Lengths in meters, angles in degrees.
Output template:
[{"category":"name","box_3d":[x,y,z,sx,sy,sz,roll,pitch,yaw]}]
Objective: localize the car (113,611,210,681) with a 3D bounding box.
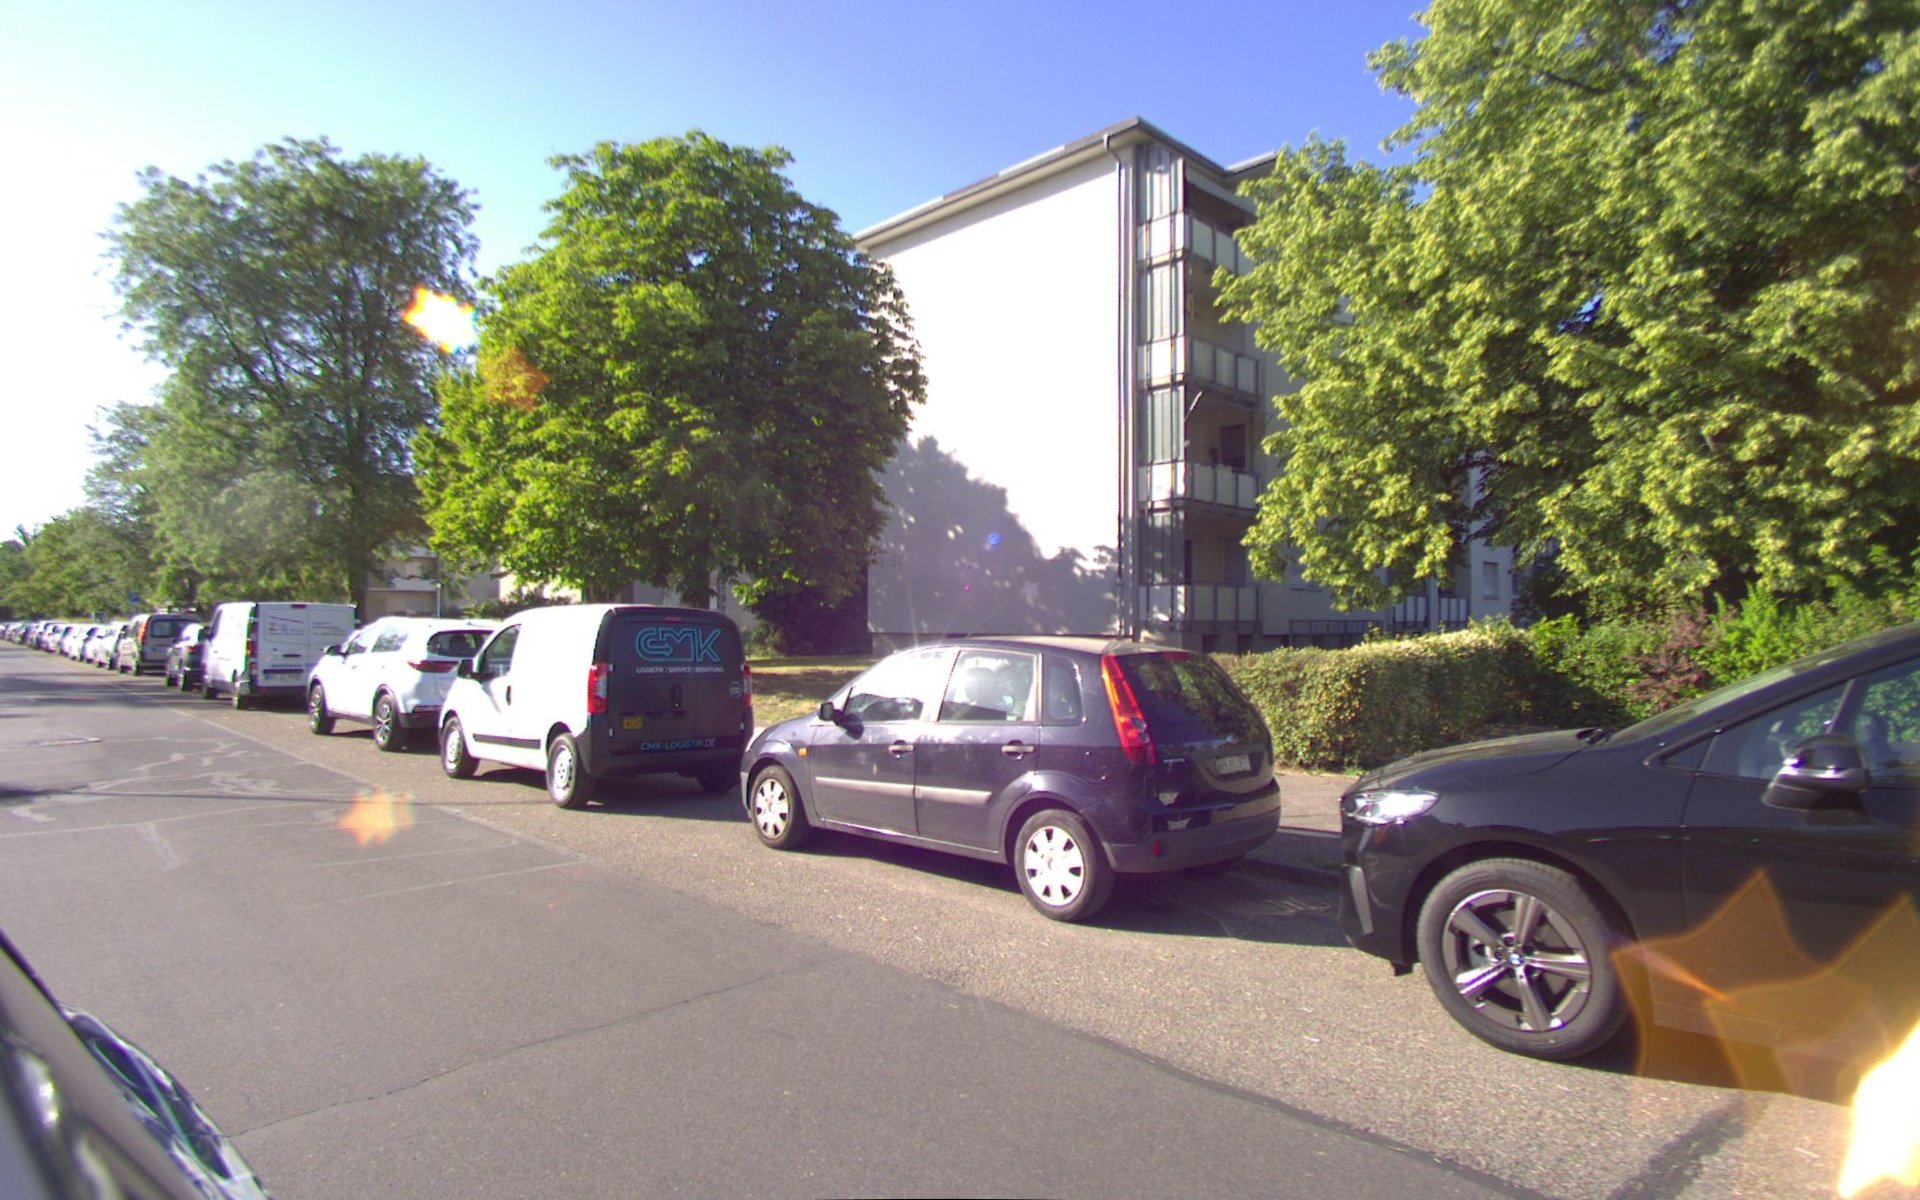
[{"category":"car","box_3d":[-24.105,1.382,30.525,3.813,1.968,1.708,-2,-4,44]}]

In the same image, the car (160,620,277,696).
[{"category":"car","box_3d":[-17.635,1.365,24.017,1.707,1.652,3.816,4,-4,-43]}]

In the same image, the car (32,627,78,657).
[{"category":"car","box_3d":[-51.709,2.390,57.827,3.556,1.641,1.610,-2,-4,44]}]

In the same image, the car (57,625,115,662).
[{"category":"car","box_3d":[-40.116,1.989,46.429,3.556,1.641,1.610,-2,-4,44]}]

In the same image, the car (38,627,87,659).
[{"category":"car","box_3d":[-48.225,2.306,54.372,3.556,1.641,1.610,-2,-4,44]}]

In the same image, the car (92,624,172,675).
[{"category":"car","box_3d":[-28.220,1.677,34.458,3.556,1.641,1.610,-2,-4,44]}]

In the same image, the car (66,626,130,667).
[{"category":"car","box_3d":[-35.986,1.937,42.217,3.556,1.641,1.610,-2,-4,44]}]

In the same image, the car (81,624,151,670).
[{"category":"car","box_3d":[-32.013,1.785,38.362,3.556,1.641,1.610,-2,-4,44]}]

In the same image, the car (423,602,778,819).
[{"category":"car","box_3d":[-3.603,0.942,9.857,3.649,1.695,1.793,-2,-4,44]}]

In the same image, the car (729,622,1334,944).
[{"category":"car","box_3d":[0.260,0.913,6.435,3.654,1.448,1.605,-2,-5,44]}]

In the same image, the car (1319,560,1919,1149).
[{"category":"car","box_3d":[3.587,0.716,3.023,4.425,1.586,1.760,-2,-5,44]}]

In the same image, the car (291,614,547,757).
[{"category":"car","box_3d":[-7.436,1.082,13.746,4.169,1.652,1.709,-2,-4,42]}]

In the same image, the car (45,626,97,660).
[{"category":"car","box_3d":[-44.895,2.186,51.089,3.556,1.641,1.610,-2,-4,44]}]

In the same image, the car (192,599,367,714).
[{"category":"car","box_3d":[-13.272,1.073,19.624,4.513,1.956,1.883,-2,-5,45]}]
